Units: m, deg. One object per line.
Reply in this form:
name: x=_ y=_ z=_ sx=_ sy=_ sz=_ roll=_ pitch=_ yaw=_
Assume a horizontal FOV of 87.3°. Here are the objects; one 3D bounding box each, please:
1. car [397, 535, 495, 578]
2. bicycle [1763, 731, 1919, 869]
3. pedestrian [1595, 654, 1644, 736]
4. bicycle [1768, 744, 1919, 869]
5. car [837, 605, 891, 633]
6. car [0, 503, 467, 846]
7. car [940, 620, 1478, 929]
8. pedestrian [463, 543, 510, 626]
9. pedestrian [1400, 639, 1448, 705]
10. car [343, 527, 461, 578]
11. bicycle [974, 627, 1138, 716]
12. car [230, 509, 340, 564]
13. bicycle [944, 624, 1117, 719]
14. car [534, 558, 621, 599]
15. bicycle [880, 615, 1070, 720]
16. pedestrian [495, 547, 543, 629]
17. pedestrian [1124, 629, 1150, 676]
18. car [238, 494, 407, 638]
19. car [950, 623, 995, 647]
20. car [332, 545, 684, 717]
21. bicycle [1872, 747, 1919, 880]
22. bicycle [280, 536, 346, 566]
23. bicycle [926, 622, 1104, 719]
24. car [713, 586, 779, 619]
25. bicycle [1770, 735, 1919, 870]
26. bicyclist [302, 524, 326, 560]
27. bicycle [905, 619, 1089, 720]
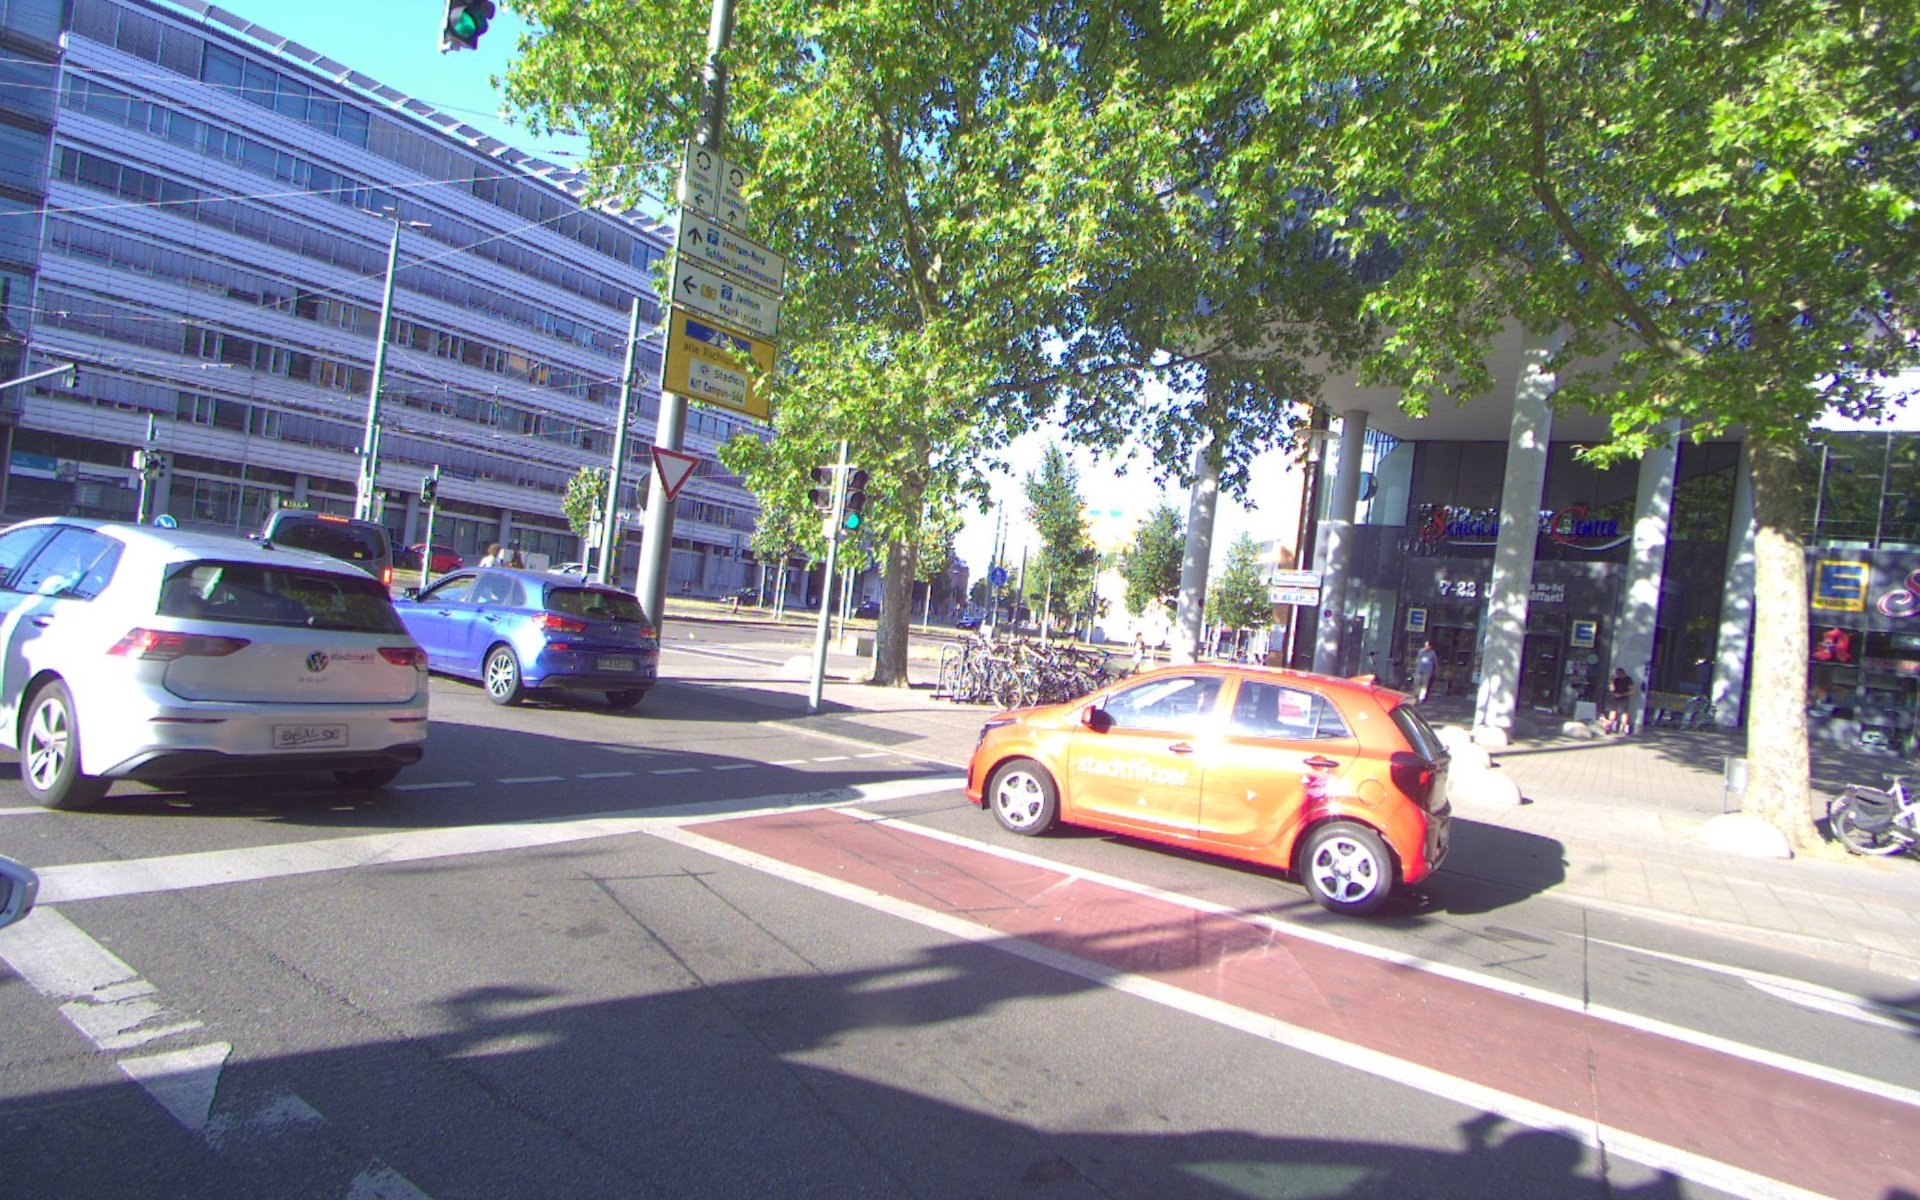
car: x=-26.413 y=-2.225 z=51.813 sx=1.769 sy=1.569 sz=3.990 roll=6 pitch=-2 yaw=36
bicycle: x=11.312 y=2.467 z=11.016 sx=3.757 sy=1.235 sz=0.727 roll=10 pitch=1 yaw=38
pedestrian: x=17.593 y=2.544 z=26.825 sx=0.847 sy=2.037 sz=1.021 roll=6 pitch=-1 yaw=38
bicycle: x=11.812 y=2.574 z=11.602 sx=3.758 sy=1.234 sz=0.792 roll=5 pitch=-2 yaw=36
car: x=-7.381 y=1.501 z=77.621 sx=1.852 sy=1.614 sz=4.121 roll=6 pitch=-2 yaw=35
car: x=-5.067 y=0.255 z=6.249 sx=3.936 sy=1.435 sz=1.750 roll=7 pitch=-1 yaw=34
car: x=1.808 y=1.139 z=7.627 sx=3.538 sy=1.476 sz=1.493 roll=7 pitch=-1 yaw=32
pedestrian: x=-10.781 y=-0.353 z=22.904 sx=0.674 sy=1.781 sz=0.734 roll=6 pitch=1 yaw=-38
pedestrian: x=14.362 y=2.225 z=31.154 sx=0.800 sy=1.913 sz=0.871 roll=5 pitch=1 yaw=-16
car: x=-25.539 y=-2.150 z=46.151 sx=1.854 sy=1.744 sz=4.256 roll=7 pitch=0 yaw=34
bicycle: x=1.732 y=1.299 z=18.621 sx=2.896 sy=1.253 sz=0.704 roll=6 pitch=1 yaw=31
car: x=-33.894 y=-3.165 z=50.602 sx=1.967 sy=2.037 sz=3.995 roll=6 pitch=-2 yaw=32
bicycle: x=1.206 y=1.229 z=17.690 sx=2.896 sy=1.250 sz=0.698 roll=6 pitch=-4 yaw=31
car: x=-20.883 y=-1.147 z=55.010 sx=1.852 sy=1.614 sz=3.991 roll=6 pitch=-2 yaw=35
bicycle: x=0.189 y=1.027 z=15.712 sx=2.896 sy=1.252 sz=0.705 roll=6 pitch=-1 yaw=31
pedestrian: x=-10.237 y=-0.284 z=23.349 sx=0.680 sy=1.781 sz=0.734 roll=6 pitch=1 yaw=-38
pedestrian: x=6.425 y=1.899 z=36.489 sx=0.569 sy=1.612 sz=0.595 roll=7 pitch=0 yaw=32
car: x=-10.849 y=-0.599 z=17.434 sx=1.986 sy=1.919 sz=4.845 roll=8 pitch=-1 yaw=-30
car: x=1.151 y=3.086 z=89.061 sx=1.852 sy=1.614 sz=4.121 roll=6 pitch=-2 yaw=35
car: x=-5.510 y=0.334 z=12.124 sx=4.143 sy=1.476 sz=1.751 roll=7 pitch=-1 yaw=32
bicycle: x=10.305 y=2.185 z=9.383 sx=2.514 sy=1.234 sz=0.756 roll=5 pitch=-2 yaw=37
bicycle: x=-29.946 y=-2.260 z=46.591 sx=0.627 sy=1.035 sz=2.410 roll=7 pitch=0 yaw=36
bicycle: x=0.880 y=1.171 z=16.975 sx=2.897 sy=1.252 sz=0.705 roll=6 pitch=-1 yaw=32
car: x=-14.562 y=0.190 z=68.556 sx=1.852 sy=1.614 sz=4.121 roll=6 pitch=-2 yaw=35
bicycle: x=10.882 y=2.301 z=10.431 sx=3.759 sy=1.234 sz=0.756 roll=5 pitch=-2 yaw=38
bicyclist: x=-29.894 y=-2.679 z=46.566 sx=0.604 sy=1.521 sz=0.663 roll=7 pitch=1 yaw=37
bicycle: x=0.560 y=1.102 z=16.318 sx=2.896 sy=1.243 sz=0.686 roll=6 pitch=-1 yaw=31
